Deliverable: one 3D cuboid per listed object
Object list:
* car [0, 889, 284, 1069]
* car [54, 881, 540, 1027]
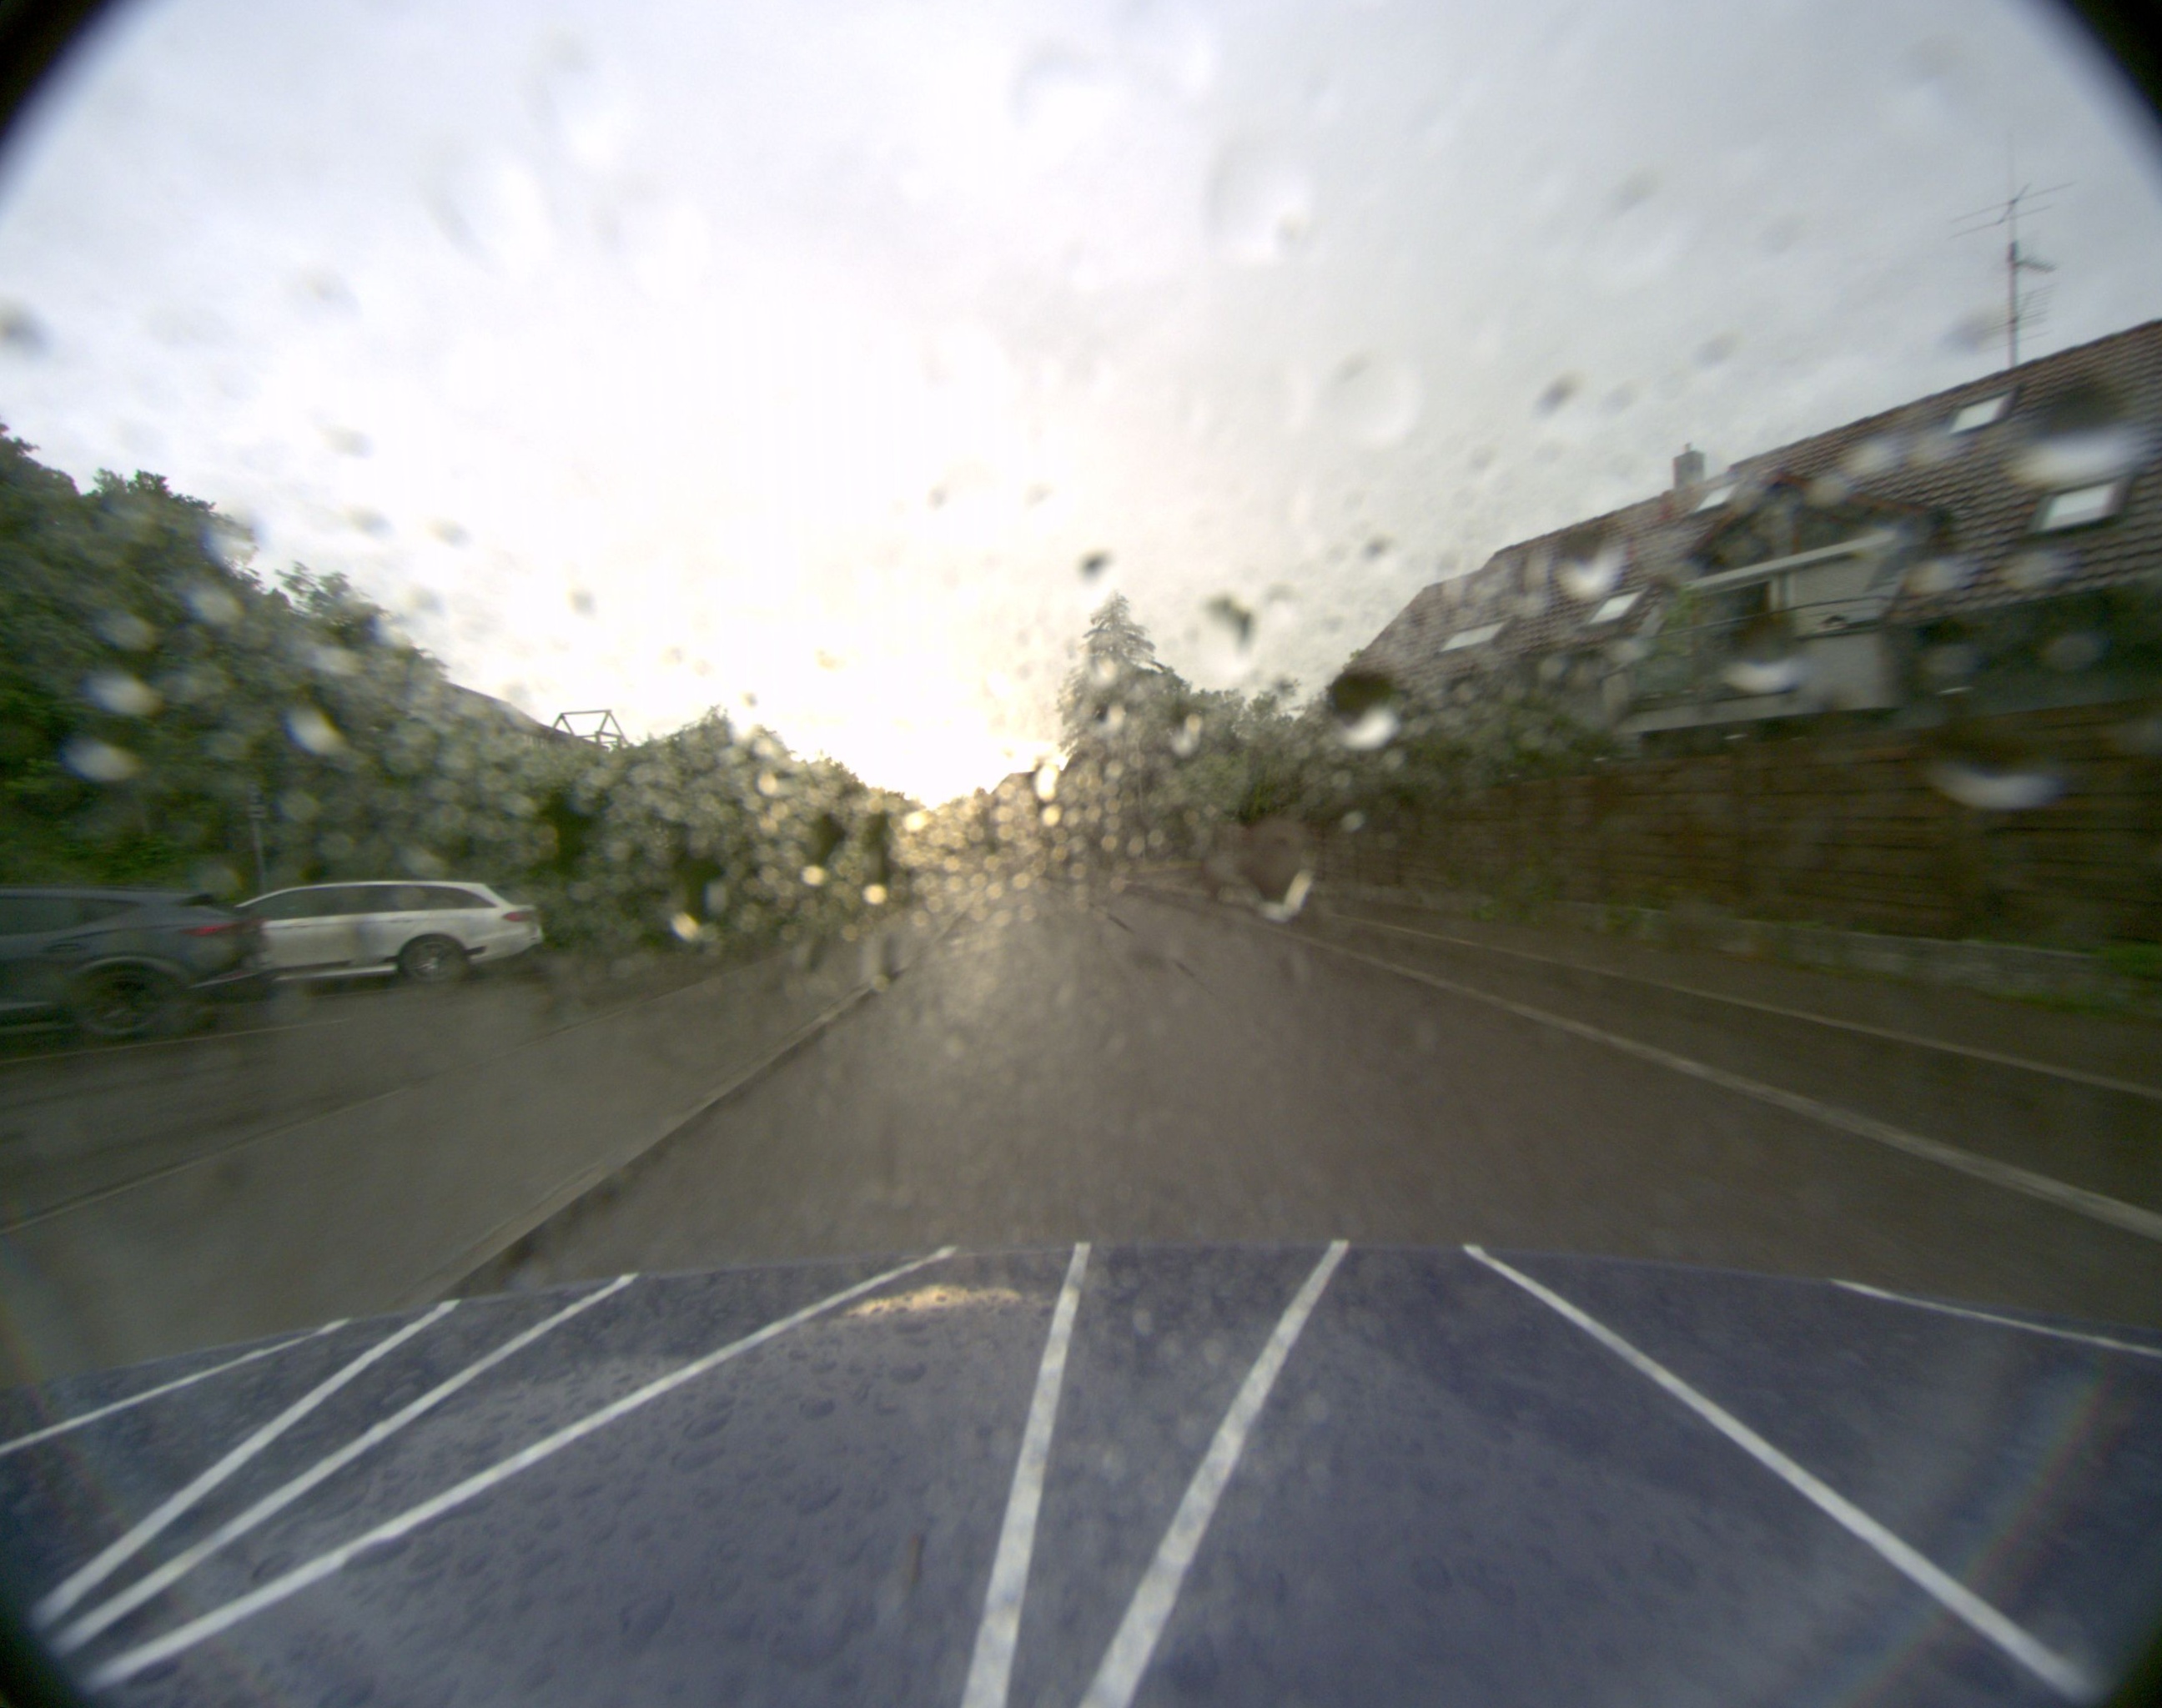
[{"bbox_3d":[-10.612,1.194,7.123,4.098,1.498,1.748,-2,0,-39],"label":"car"},{"bbox_3d":[-10.256,1.209,10.522,4.322,1.455,1.808,-2,0,-30],"label":"car"}]
